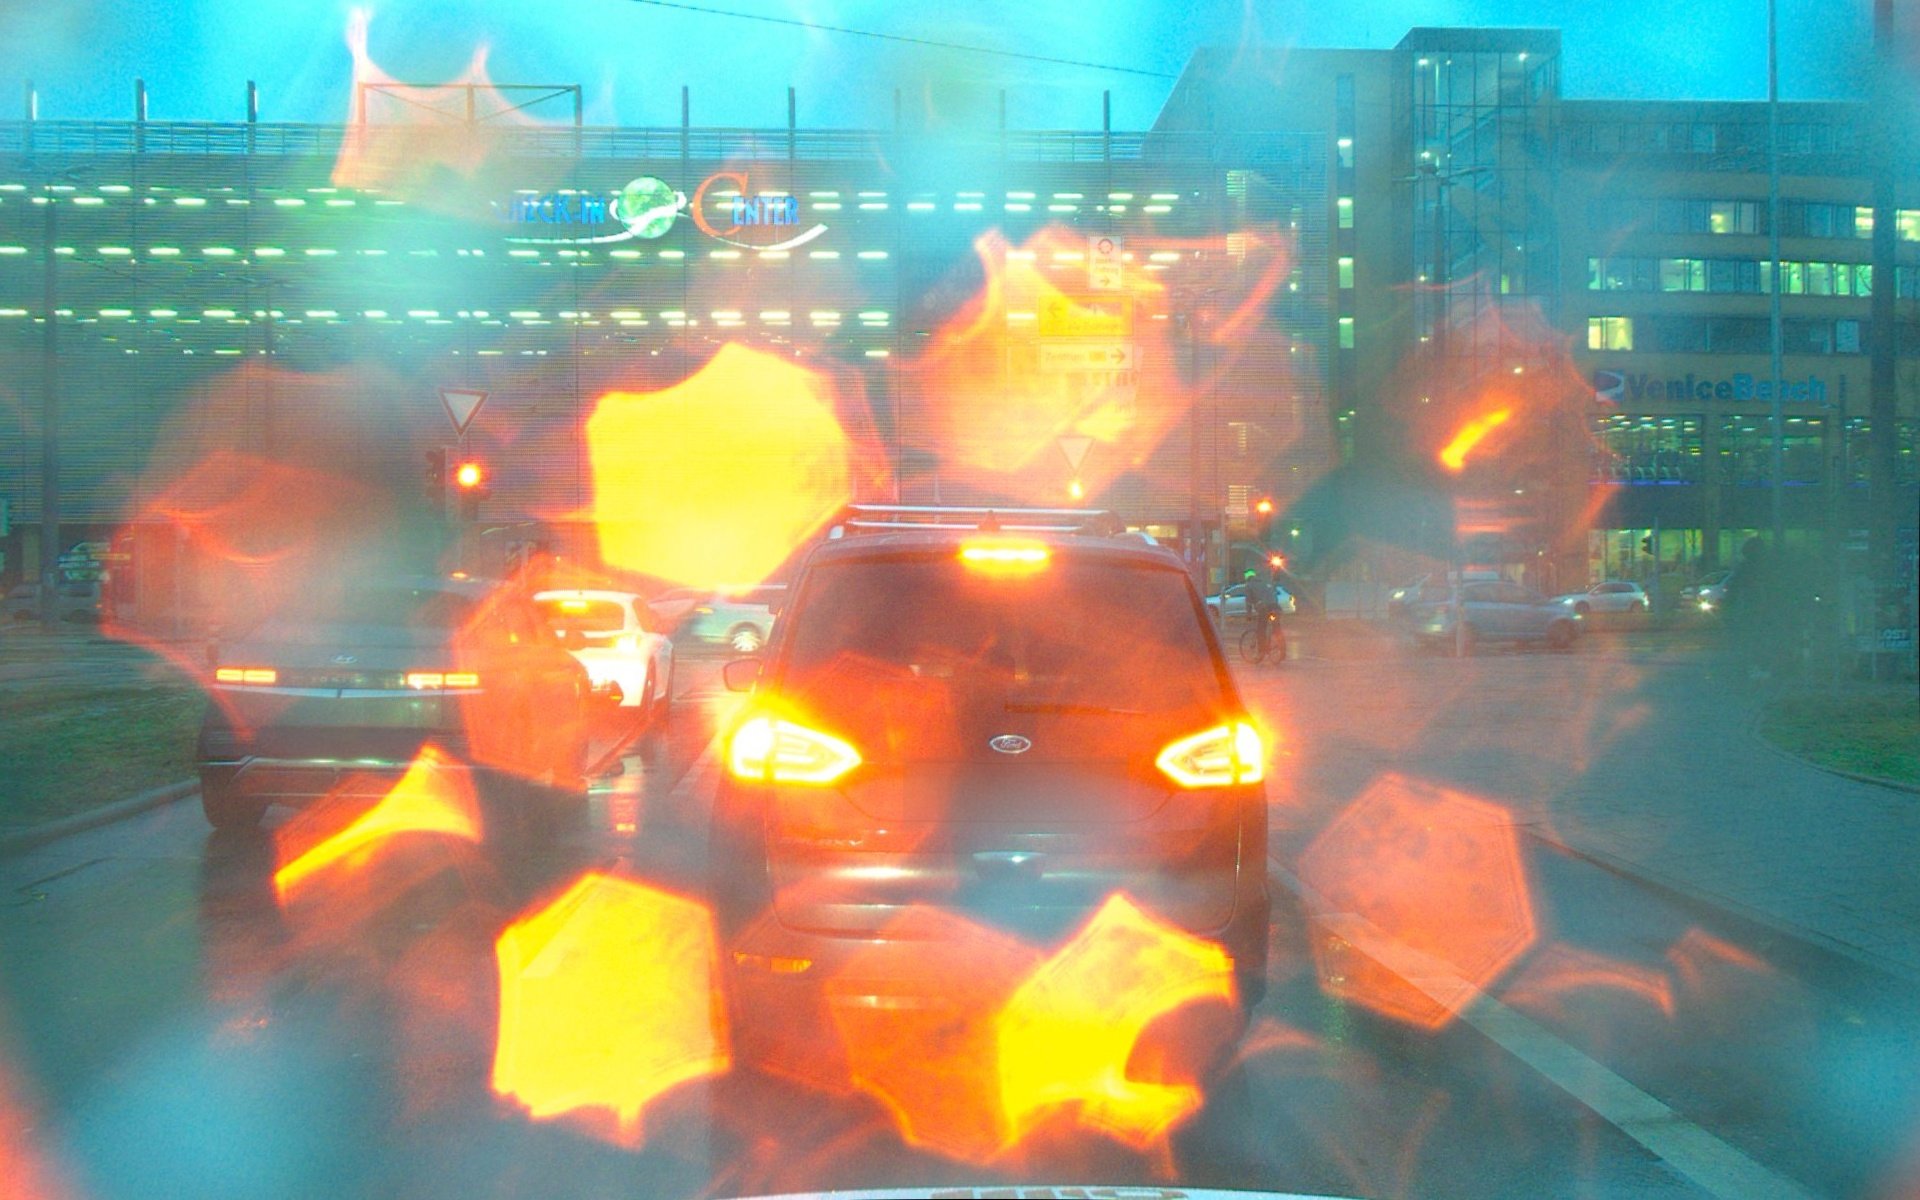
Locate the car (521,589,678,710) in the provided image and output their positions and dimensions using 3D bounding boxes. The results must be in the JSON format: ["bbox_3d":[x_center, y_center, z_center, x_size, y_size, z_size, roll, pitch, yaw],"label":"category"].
[{"bbox_3d":[-4.140,0.514,19.472,1.512,1.273,4.060,0,0,-8],"label":"car"}]

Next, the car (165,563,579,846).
[{"bbox_3d":[-3.814,0.585,11.456,1.718,1.601,3.996,0,0,-5],"label":"car"}]

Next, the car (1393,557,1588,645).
[{"bbox_3d":[12.490,-0.004,39.065,3.917,1.907,1.994,-2,1,-12],"label":"car"}]

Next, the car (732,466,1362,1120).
[{"bbox_3d":[0.142,0.527,6.706,1.700,1.768,4.244,2,0,-3],"label":"car"}]

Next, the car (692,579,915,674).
[{"bbox_3d":[-3.354,0.541,35.089,4.584,1.883,1.827,-1,0,-10],"label":"car"}]

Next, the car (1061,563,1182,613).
[{"bbox_3d":[6.731,-0.500,69.050,4.747,2.035,1.797,-1,0,-8],"label":"car"}]

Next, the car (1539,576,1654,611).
[{"bbox_3d":[26.446,-0.281,68.766,4.136,1.414,1.797,-1,0,-8],"label":"car"}]

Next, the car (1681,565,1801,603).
[{"bbox_3d":[33.131,-0.668,70.220,4.348,1.561,1.797,-1,0,-8],"label":"car"}]

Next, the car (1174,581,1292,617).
[{"bbox_3d":[10.974,-0.052,66.567,4.336,1.414,1.797,-1,0,-8],"label":"car"}]

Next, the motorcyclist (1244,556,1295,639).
[{"bbox_3d":[5.933,-0.049,31.754,0.850,1.561,1.109,0,0,5],"label":"motorcyclist"}]

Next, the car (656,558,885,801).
[{"bbox_3d":[-1.509,0.573,13.656,1.604,1.726,3.667,1,0,-5],"label":"car"}]

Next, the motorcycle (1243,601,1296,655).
[{"bbox_3d":[5.931,0.527,31.740,0.835,0.989,1.582,0,0,5],"label":"motorcycle"}]

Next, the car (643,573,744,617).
[{"bbox_3d":[-10.855,-0.228,67.519,3.910,1.646,1.736,2,1,-6],"label":"car"}]

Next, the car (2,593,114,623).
[{"bbox_3d":[-37.228,0.310,68.342,3.686,1.186,1.678,-1,0,-6],"label":"car"}]

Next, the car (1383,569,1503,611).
[{"bbox_3d":[19.674,-0.411,67.458,4.336,1.623,1.797,-1,0,-8],"label":"car"}]

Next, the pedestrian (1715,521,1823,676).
[{"bbox_3d":[10.607,-0.033,21.730,1.146,1.957,0.898,2,0,22],"label":"pedestrian"}]
